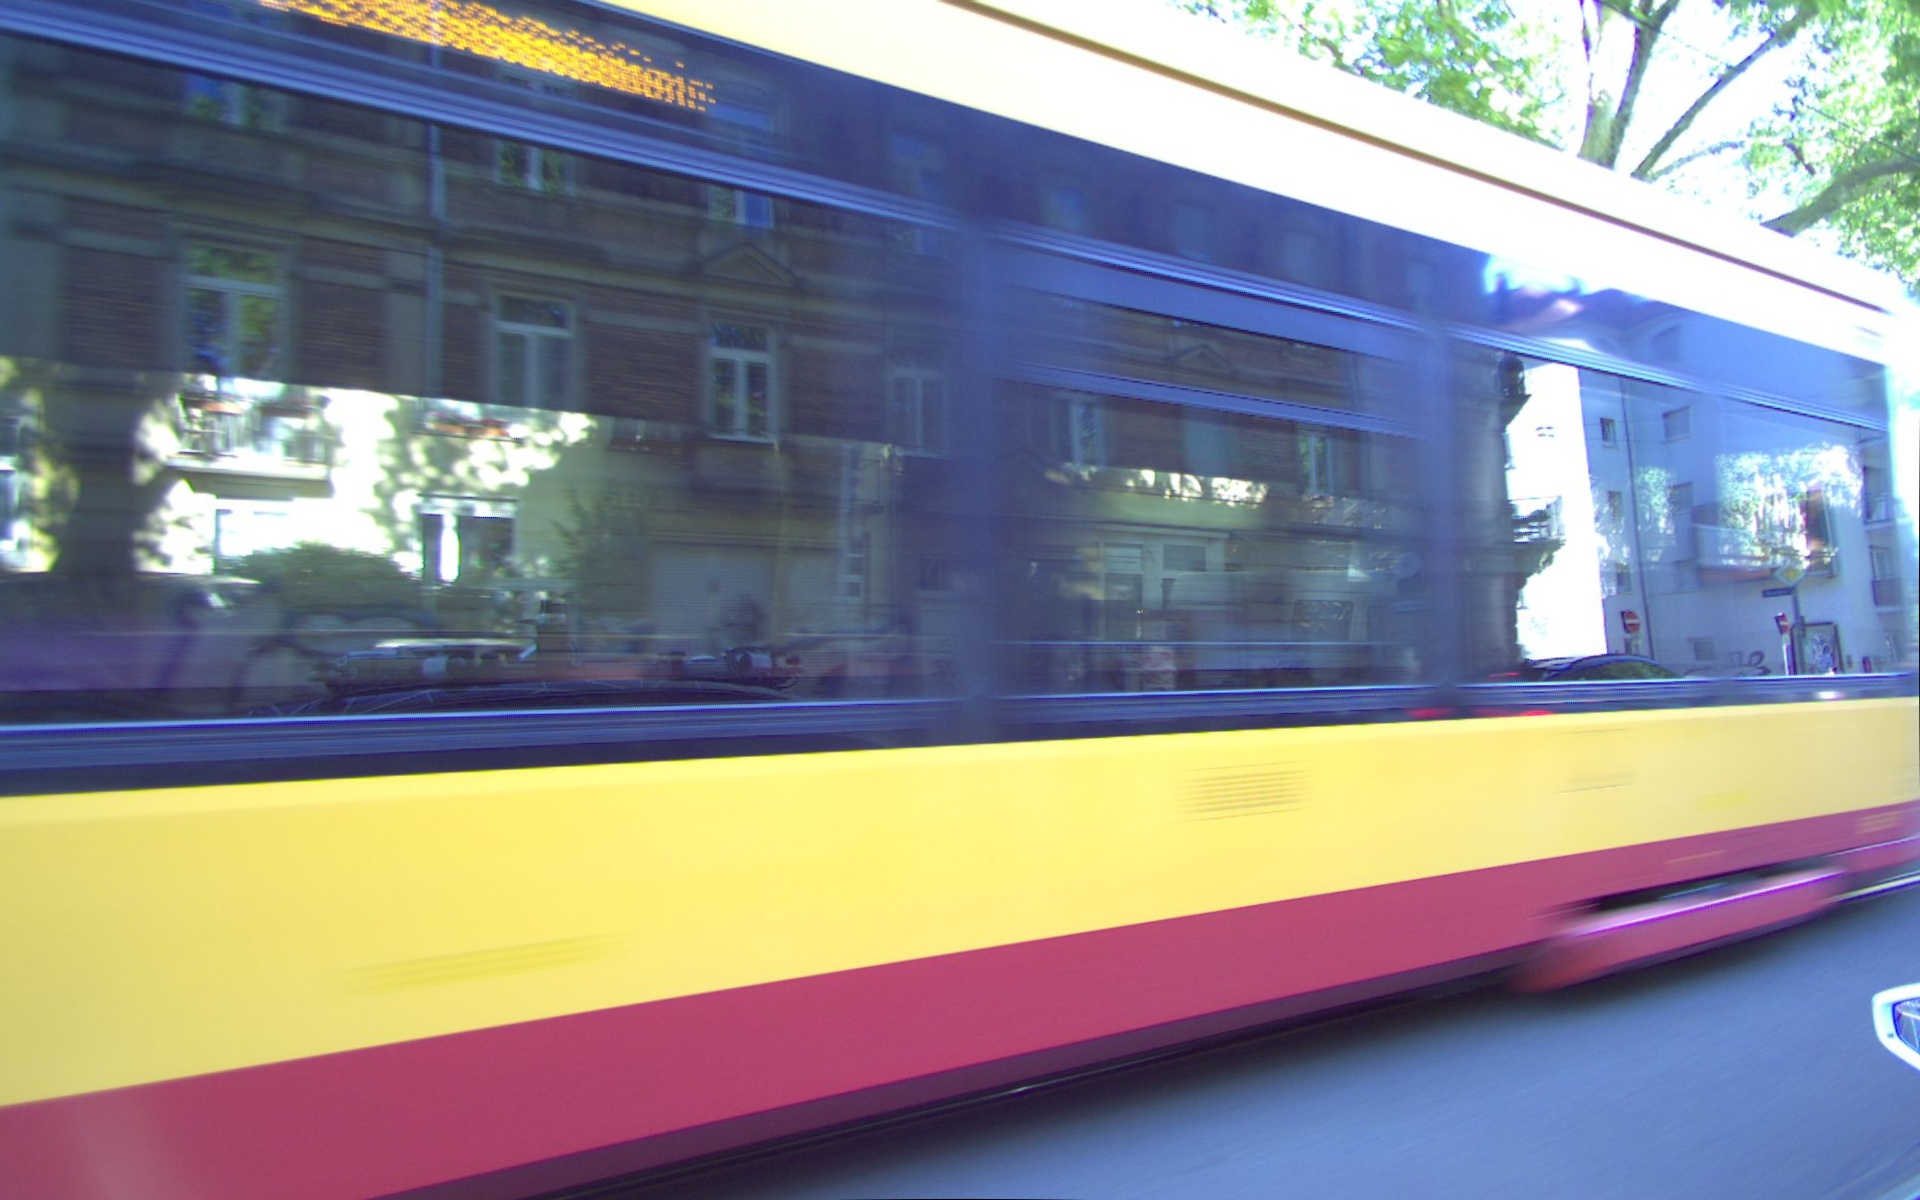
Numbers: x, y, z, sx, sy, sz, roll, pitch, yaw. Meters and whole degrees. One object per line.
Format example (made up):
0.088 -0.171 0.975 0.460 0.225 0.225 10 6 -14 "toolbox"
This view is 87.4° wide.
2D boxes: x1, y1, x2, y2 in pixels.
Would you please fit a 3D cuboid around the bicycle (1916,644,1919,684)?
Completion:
27.178 1.773 27.473 0.389 1.102 1.561 1 -1 -9 "bicycle"

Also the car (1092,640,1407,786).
3.856 1.434 14.122 1.881 1.517 4.126 2 0 -29 "car"

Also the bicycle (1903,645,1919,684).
27.750 1.849 28.477 0.389 1.102 1.561 1 -1 -9 "bicycle"

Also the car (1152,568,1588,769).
5.835 0.797 15.605 1.974 2.440 6.577 0 1 -27 "car"

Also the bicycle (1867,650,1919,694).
24.889 1.875 26.293 0.389 1.102 1.859 1 -1 -9 "bicycle"

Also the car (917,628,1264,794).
1.341 1.178 12.654 1.974 1.465 4.914 1 1 -26 "car"

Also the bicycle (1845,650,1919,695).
24.209 1.869 26.189 0.389 1.102 1.859 1 -1 -9 "bicycle"

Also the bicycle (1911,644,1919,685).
26.747 1.766 27.165 0.389 1.102 1.561 1 -1 -9 "bicycle"

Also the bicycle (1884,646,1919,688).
25.864 1.807 27.030 0.389 1.102 1.561 1 -1 -9 "bicycle"

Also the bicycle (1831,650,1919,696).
23.769 1.879 26.113 0.389 1.102 1.859 1 -1 -9 "bicycle"

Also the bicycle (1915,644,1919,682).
28.223 1.833 28.596 0.389 1.102 1.561 1 -1 -9 "bicycle"

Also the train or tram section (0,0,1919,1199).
1.247 -0.322 4.581 10.920 3.667 2.926 2 0 -27 "train or tram section"
